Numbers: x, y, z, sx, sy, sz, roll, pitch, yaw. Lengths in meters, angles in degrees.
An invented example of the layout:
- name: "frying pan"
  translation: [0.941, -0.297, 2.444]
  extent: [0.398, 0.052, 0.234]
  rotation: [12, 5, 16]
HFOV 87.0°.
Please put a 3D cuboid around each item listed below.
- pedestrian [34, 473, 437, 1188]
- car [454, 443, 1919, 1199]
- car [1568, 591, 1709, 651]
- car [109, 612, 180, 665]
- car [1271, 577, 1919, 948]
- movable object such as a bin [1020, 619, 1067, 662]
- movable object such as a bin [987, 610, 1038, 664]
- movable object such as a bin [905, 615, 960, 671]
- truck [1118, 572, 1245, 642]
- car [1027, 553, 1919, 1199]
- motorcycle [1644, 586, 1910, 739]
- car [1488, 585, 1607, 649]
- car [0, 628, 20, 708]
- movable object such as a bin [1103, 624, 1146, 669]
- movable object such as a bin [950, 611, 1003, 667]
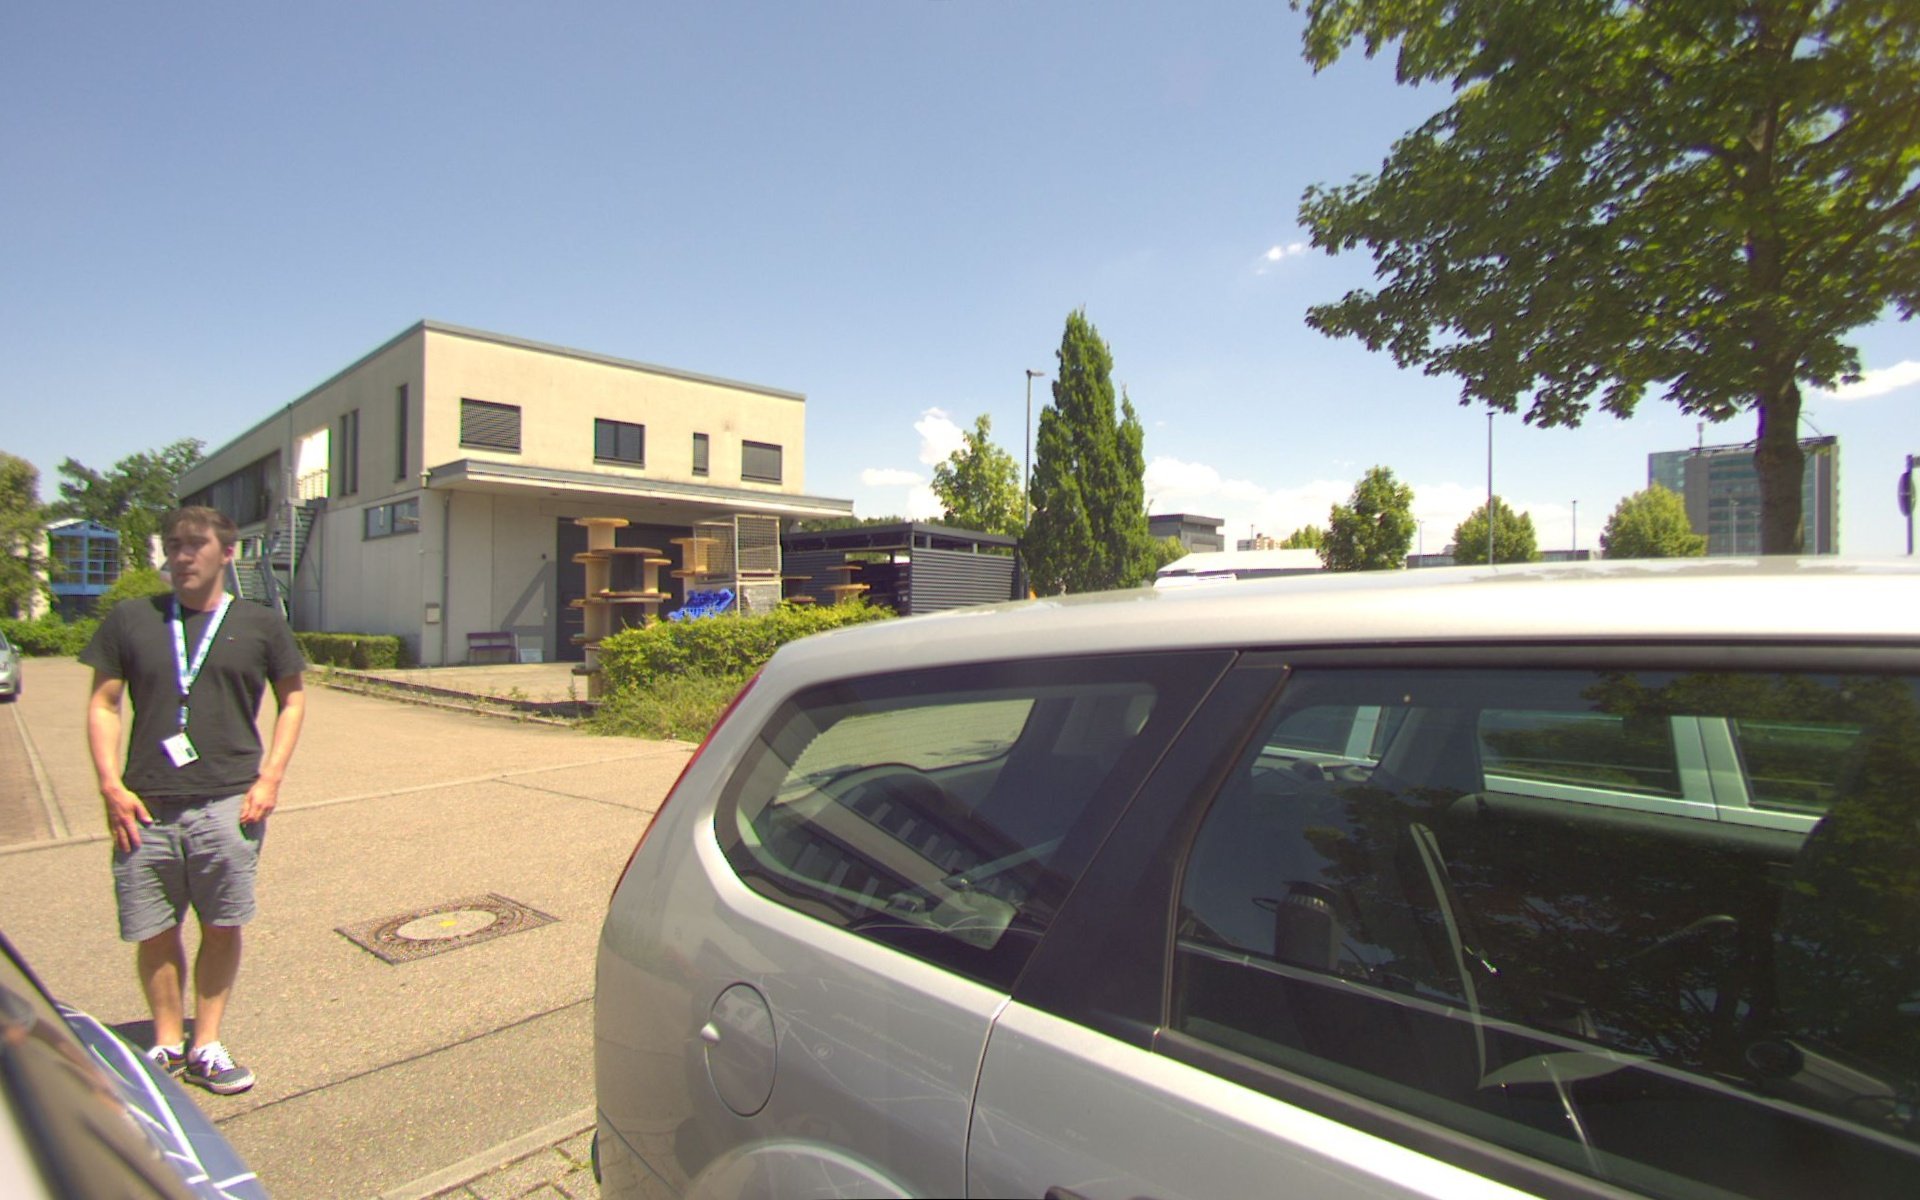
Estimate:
- name: "pedestrian"
  translation: [-2.302, 0.594, 3.220]
  extent: [0.904, 1.834, 0.849]
  rotation: [-2, -1, 41]
- name: "car"
  translation: [1.327, 0.649, 0.983]
  extent: [4.345, 1.490, 1.702]
  rotation: [-1, -1, 41]
- name: "car"
  translation: [18.599, 0.542, 27.713]
  extent: [3.932, 1.533, 1.658]
  rotation: [-1, 0, -31]
- name: "car"
  translation: [-30.060, 1.368, 37.259]
  extent: [1.761, 1.817, 4.004]
  rotation: [-1, 0, -43]
- name: "car"
  translation: [3.748, 0.645, 5.035]
  extent: [3.886, 1.459, 1.632]
  rotation: [-1, -1, 38]
- name: "movable object such as a bin"
  translation: [2.207, 1.051, 26.734]
  extent: [0.972, 1.092, 0.761]
  rotation: [-1, -1, -40]
- name: "movable object such as a bin"
  translation: [1.355, 0.934, 26.054]
  extent: [1.056, 1.346, 0.761]
  rotation: [-1, -1, -40]
- name: "movable object such as a bin"
  translation: [-0.664, 1.012, 24.331]
  extent: [1.056, 1.280, 0.761]
  rotation: [-1, -1, -40]
- name: "truck"
  translation: [9.188, 0.263, 41.617]
  extent: [5.614, 2.692, 2.420]
  rotation: [-1, -1, -45]
- name: "car"
  translation: [2.276, 0.644, 3.104]
  extent: [3.886, 1.490, 1.632]
  rotation: [-1, -1, 38]
- name: "motorcycle"
  translation: [8.040, 0.593, 10.071]
  extent: [1.986, 1.400, 0.478]
  rotation: [-2, -1, 37]
- name: "car"
  translation: [17.403, 0.463, 29.924]
  extent: [3.936, 1.751, 1.775]
  rotation: [-1, 0, -39]
- name: "car"
  translation: [-19.071, 1.262, 19.180]
  extent: [1.686, 1.402, 3.816]
  rotation: [1, -1, -41]
- name: "movable object such as a bin"
  translation: [3.747, 1.052, 23.093]
  extent: [0.581, 0.977, 0.761]
  rotation: [-1, -1, -40]
- name: "movable object such as a bin"
  translation: [0.414, 0.951, 25.109]
  extent: [1.056, 1.346, 0.761]
  rotation: [-1, -1, -40]
